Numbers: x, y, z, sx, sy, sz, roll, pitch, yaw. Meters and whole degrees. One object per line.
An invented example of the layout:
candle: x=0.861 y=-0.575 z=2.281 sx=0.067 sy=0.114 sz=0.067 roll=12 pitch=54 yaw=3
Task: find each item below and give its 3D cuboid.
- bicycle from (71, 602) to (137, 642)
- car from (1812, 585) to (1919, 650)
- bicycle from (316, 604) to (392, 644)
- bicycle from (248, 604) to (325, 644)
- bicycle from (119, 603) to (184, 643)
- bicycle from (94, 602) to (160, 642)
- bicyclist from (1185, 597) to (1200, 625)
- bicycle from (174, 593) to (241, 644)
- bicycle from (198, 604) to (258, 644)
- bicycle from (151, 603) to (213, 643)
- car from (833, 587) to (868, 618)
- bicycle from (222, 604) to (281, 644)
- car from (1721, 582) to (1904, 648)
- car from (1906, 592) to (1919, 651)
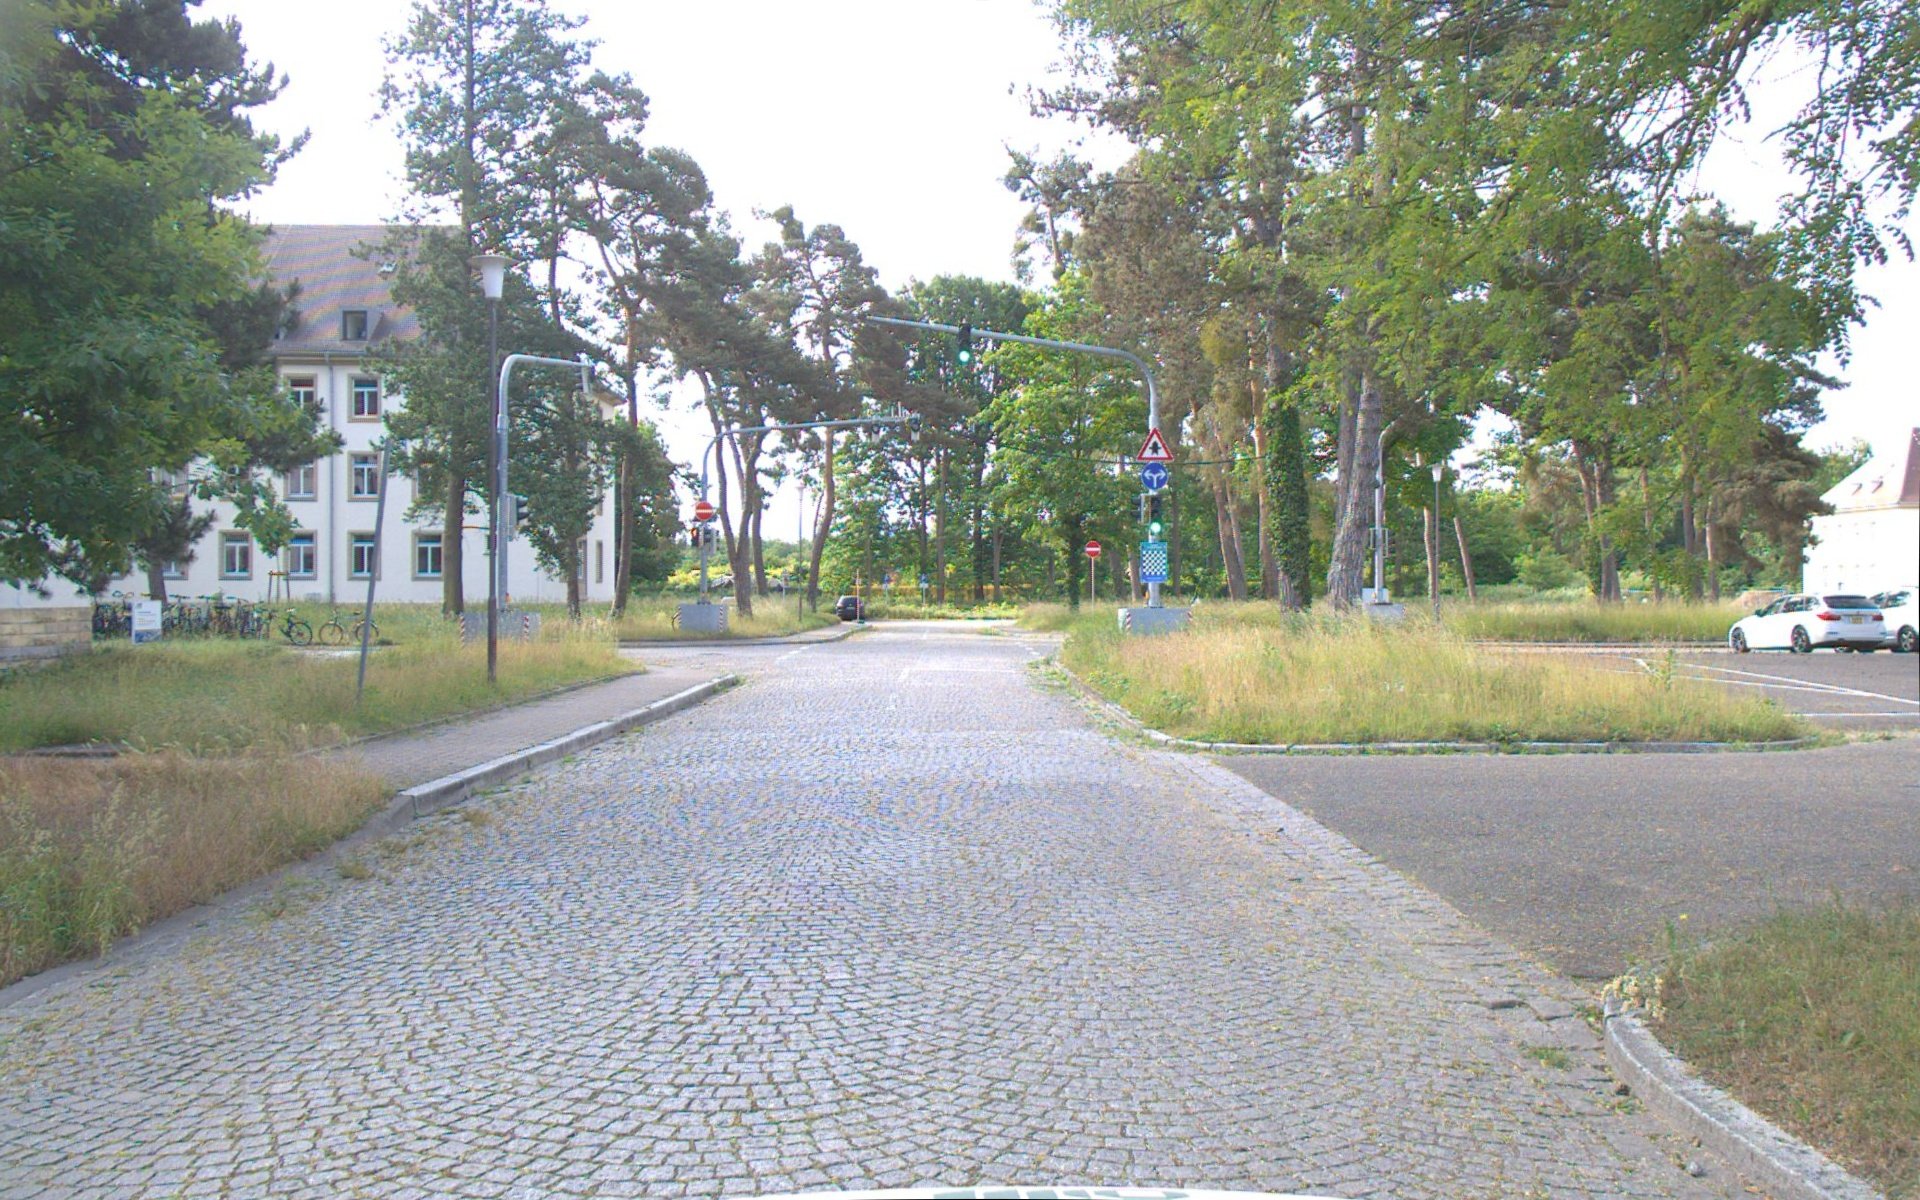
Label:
bicycle: x=-24.365 y=0.614 z=47.106 sx=0.721 sy=1.095 sz=2.273 roll=0 pitch=0 yaw=0
car: x=23.195 y=0.453 z=40.661 sx=1.954 sy=1.507 sz=4.421 roll=0 pitch=-1 yaw=-4
bicycle: x=-16.842 y=0.652 z=45.984 sx=1.818 sy=1.095 sz=0.831 roll=0 pitch=0 yaw=1
bicycle: x=-18.693 y=0.654 z=45.913 sx=1.818 sy=1.095 sz=0.738 roll=0 pitch=0 yaw=1
bicycle: x=-22.947 y=0.626 z=46.982 sx=0.721 sy=1.095 sz=2.273 roll=0 pitch=0 yaw=0
bicycle: x=-23.667 y=0.623 z=47.041 sx=0.721 sy=1.095 sz=2.273 roll=0 pitch=0 yaw=0
bicyclist: x=14.330 y=0.669 z=102.009 sx=0.736 sy=1.700 sz=0.524 roll=1 pitch=-1 yaw=-15
bicycle: x=-21.533 y=0.517 z=47.390 sx=0.721 sy=1.410 sz=2.711 roll=0 pitch=0 yaw=0
bicycle: x=-20.798 y=0.668 z=47.048 sx=0.721 sy=1.095 sz=2.273 roll=0 pitch=0 yaw=0
bicycle: x=-22.321 y=0.651 z=47.486 sx=0.721 sy=1.095 sz=2.273 roll=0 pitch=0 yaw=0
car: x=-6.807 y=0.135 z=103.492 sx=2.014 sy=1.878 sz=3.999 roll=0 pitch=0 yaw=-2
bicycle: x=-20.170 y=0.661 z=47.139 sx=0.721 sy=1.095 sz=2.273 roll=0 pitch=0 yaw=0
car: x=20.730 y=0.393 z=40.438 sx=1.954 sy=1.507 sz=4.421 roll=0 pitch=-1 yaw=-4
car: x=25.806 y=0.517 z=41.000 sx=1.954 sy=1.507 sz=4.421 roll=0 pitch=-1 yaw=-4
